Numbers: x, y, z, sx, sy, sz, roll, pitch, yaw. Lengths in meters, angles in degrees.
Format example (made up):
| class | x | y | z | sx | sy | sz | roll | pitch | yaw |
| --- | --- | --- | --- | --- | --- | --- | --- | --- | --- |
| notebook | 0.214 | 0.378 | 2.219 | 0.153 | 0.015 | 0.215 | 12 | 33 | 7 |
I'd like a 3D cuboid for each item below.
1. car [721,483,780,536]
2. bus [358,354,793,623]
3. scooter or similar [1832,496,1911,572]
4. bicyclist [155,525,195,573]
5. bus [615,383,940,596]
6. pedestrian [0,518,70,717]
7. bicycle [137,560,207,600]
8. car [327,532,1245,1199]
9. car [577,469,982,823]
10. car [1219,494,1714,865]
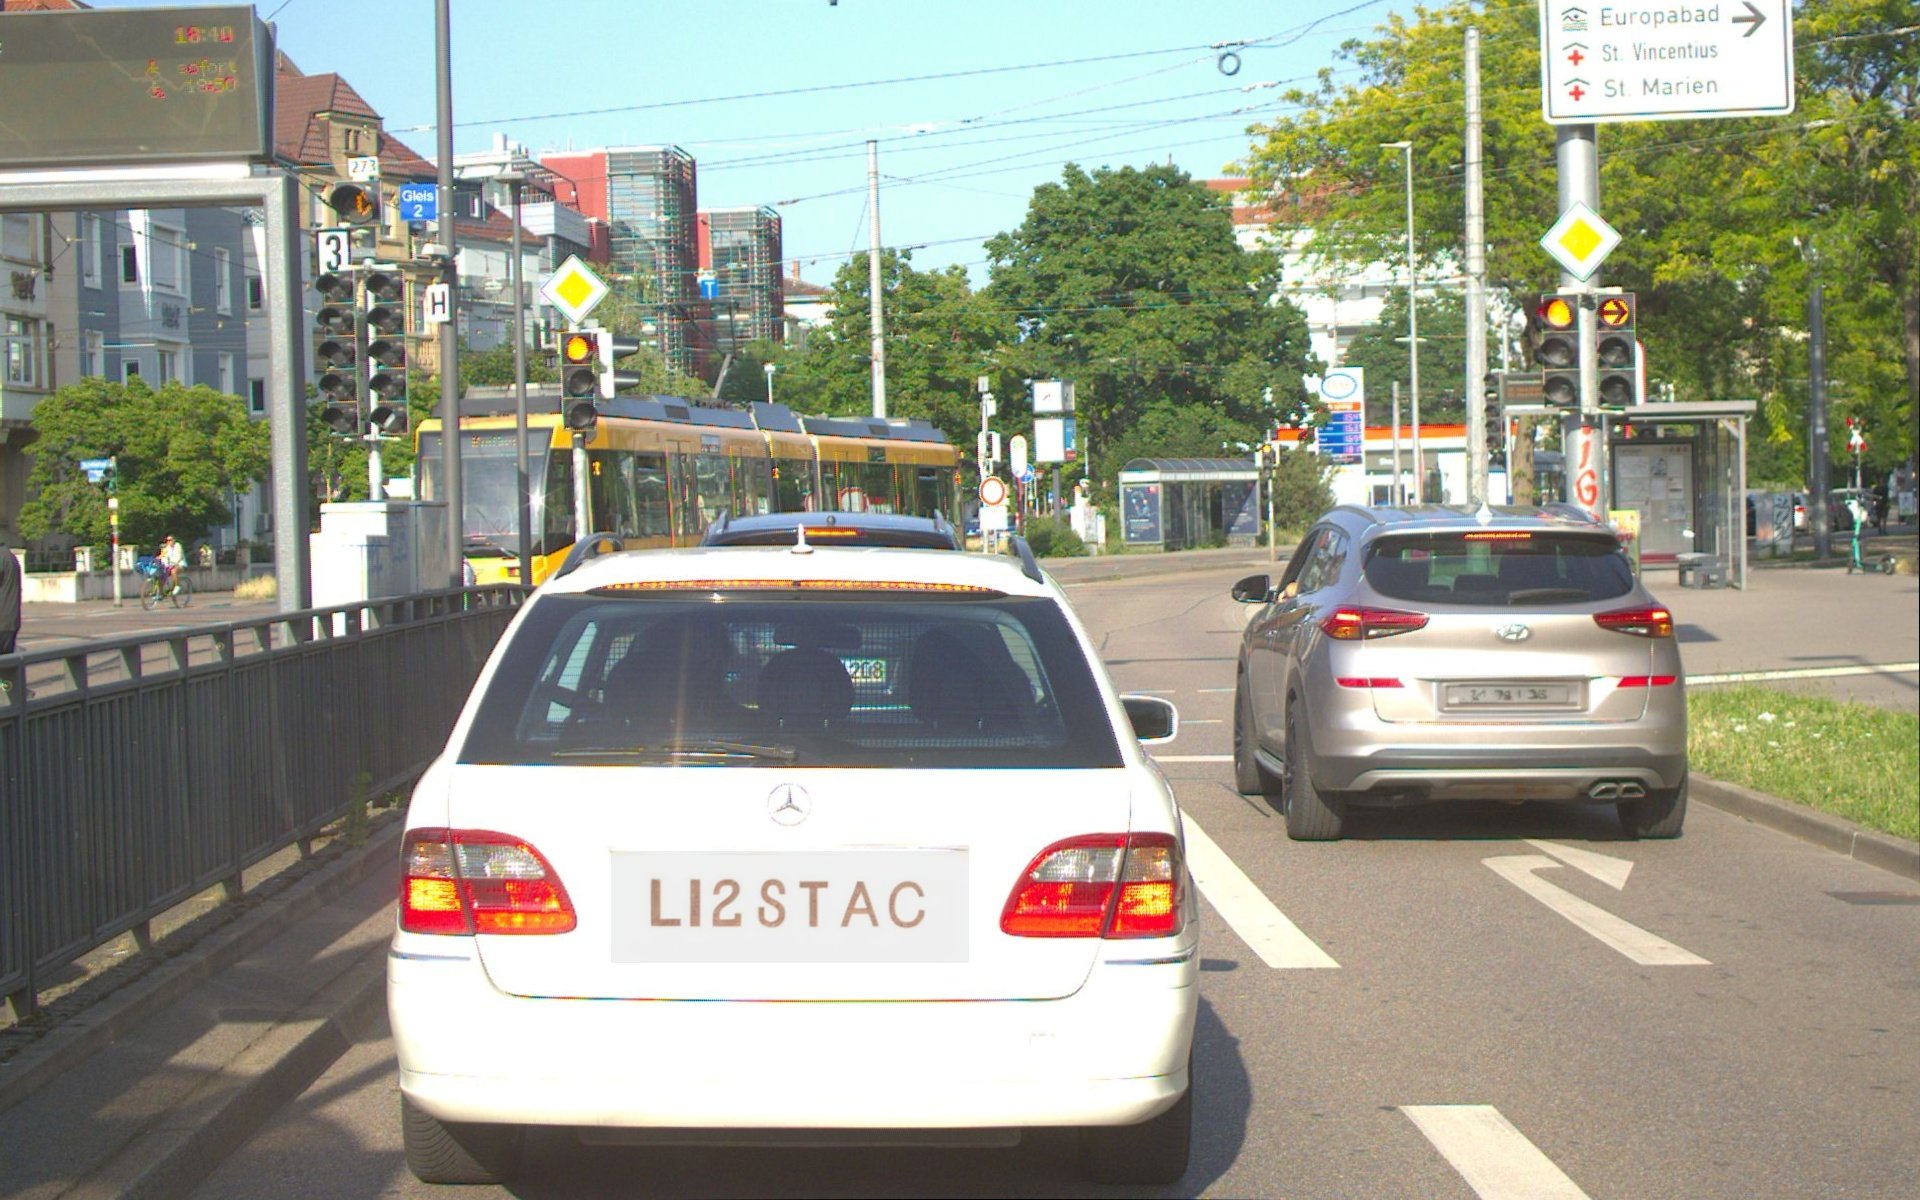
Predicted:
| class | x | y | z | sx | sy | sz | roll | pitch | yaw |
| --- | --- | --- | --- | --- | --- | --- | --- | --- | --- |
| car | -8.255 | -3.560 | 135.666 | 2.075 | 2.007 | 4.163 | 1 | 1 | -1 |
| bus | -5.490 | -1.569 | 52.384 | 3.110 | 3.593 | 12.369 | 1 | 1 | 10 |
| scooter or similar | 13.541 | -0.979 | 51.109 | 0.419 | 1.113 | 1.330 | -2 | 1 | -21 |
| bicyclist | -17.084 | -1.110 | 74.817 | 0.513 | 1.041 | 0.678 | -1 | 1 | 27 |
| bus | -3.153 | -1.950 | 64.664 | 3.110 | 3.593 | 12.585 | 1 | 1 | 11 |
| pedestrian | -8.058 | 0.145 | 28.906 | 0.792 | 1.639 | 0.757 | -3 | 2 | -45 |
| bicycle | -17.118 | -0.437 | 74.726 | 0.526 | 0.831 | 1.684 | -1 | 1 | 25 |
| car | -0.374 | 0.571 | 8.564 | 1.796 | 1.465 | 3.648 | 0 | 1 | -1 |
| car | -0.882 | 0.178 | 18.055 | 1.885 | 1.645 | 3.648 | 1 | 1 | -1 |
| car | 2.452 | 0.322 | 17.522 | 1.885 | 1.645 | 3.648 | -2 | 1 | -1 |
